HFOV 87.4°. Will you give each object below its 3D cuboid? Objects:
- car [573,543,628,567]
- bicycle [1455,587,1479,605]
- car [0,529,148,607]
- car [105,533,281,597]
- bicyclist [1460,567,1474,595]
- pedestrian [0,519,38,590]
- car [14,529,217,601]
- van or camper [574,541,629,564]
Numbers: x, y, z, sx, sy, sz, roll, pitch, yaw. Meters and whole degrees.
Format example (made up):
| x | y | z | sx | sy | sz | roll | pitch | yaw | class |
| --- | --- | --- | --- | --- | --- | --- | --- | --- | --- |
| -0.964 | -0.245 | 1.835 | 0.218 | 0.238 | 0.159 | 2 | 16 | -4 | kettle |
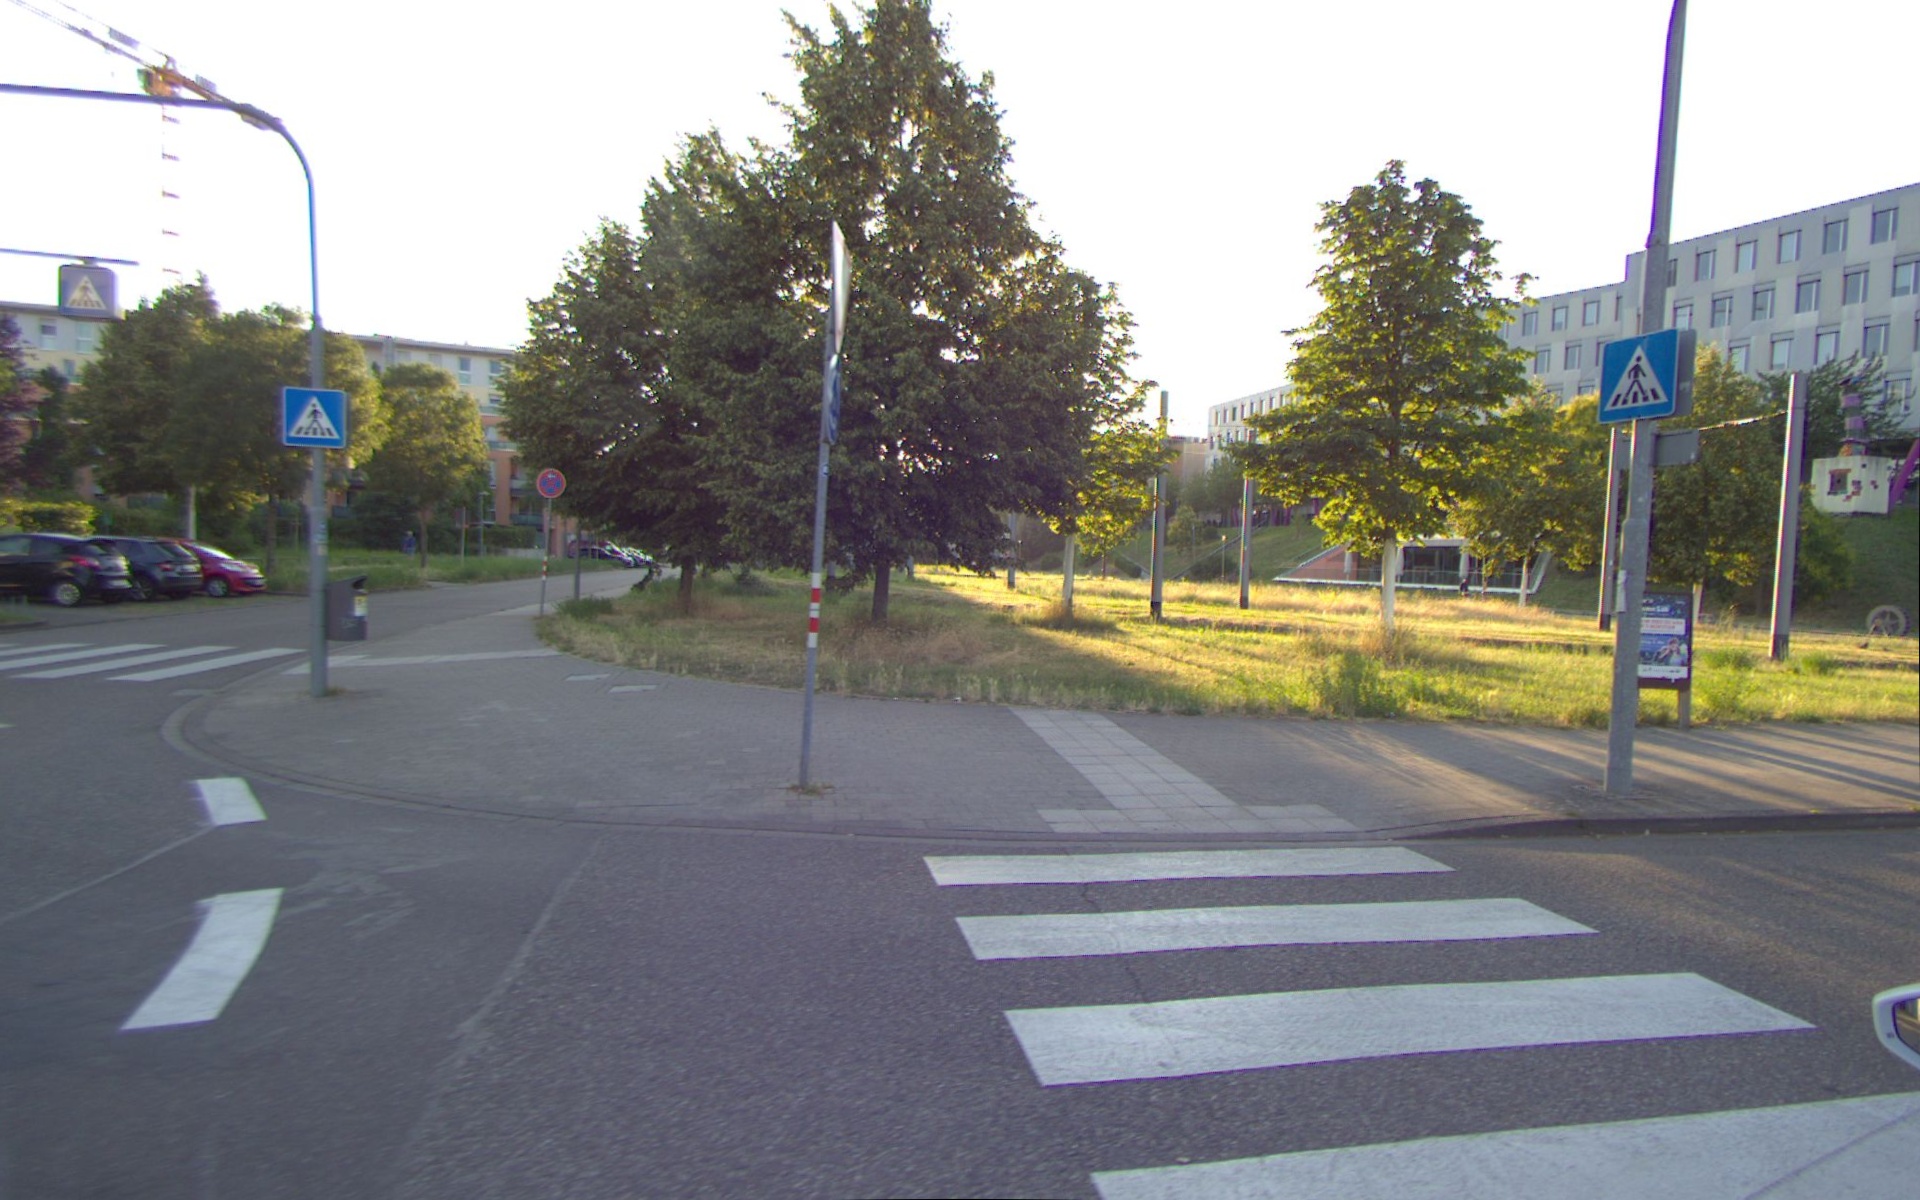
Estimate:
| x | y | z | sx | sy | sz | roll | pitch | yaw | class |
| --- | --- | --- | --- | --- | --- | --- | --- | --- | --- |
| -27.498 | -3.456 | 76.922 | 3.815 | 1.718 | 1.697 | 0 | 3 | -16 | car |
| 27.877 | -0.230 | 55.239 | 0.423 | 0.912 | 1.232 | 0 | 3 | -12 | bicycle |
| -19.999 | -0.717 | 21.746 | 3.350 | 1.542 | 1.687 | 2 | 3 | -11 | car |
| -20.307 | -0.931 | 26.717 | 3.350 | 1.520 | 1.591 | 2 | 3 | -11 | car |
| 27.885 | -1.067 | 55.264 | 0.417 | 1.515 | 0.513 | 0 | 3 | -12 | bicyclist |
| -23.089 | -1.127 | 24.608 | 0.618 | 1.690 | 0.736 | 0 | 5 | -36 | pedestrian |
| -20.104 | -0.831 | 24.043 | 3.350 | 1.520 | 1.591 | 2 | 3 | -11 | car |
| -28.358 | -3.782 | 79.565 | 3.811 | 1.718 | 1.830 | 1 | 3 | -12 | van or camper |
